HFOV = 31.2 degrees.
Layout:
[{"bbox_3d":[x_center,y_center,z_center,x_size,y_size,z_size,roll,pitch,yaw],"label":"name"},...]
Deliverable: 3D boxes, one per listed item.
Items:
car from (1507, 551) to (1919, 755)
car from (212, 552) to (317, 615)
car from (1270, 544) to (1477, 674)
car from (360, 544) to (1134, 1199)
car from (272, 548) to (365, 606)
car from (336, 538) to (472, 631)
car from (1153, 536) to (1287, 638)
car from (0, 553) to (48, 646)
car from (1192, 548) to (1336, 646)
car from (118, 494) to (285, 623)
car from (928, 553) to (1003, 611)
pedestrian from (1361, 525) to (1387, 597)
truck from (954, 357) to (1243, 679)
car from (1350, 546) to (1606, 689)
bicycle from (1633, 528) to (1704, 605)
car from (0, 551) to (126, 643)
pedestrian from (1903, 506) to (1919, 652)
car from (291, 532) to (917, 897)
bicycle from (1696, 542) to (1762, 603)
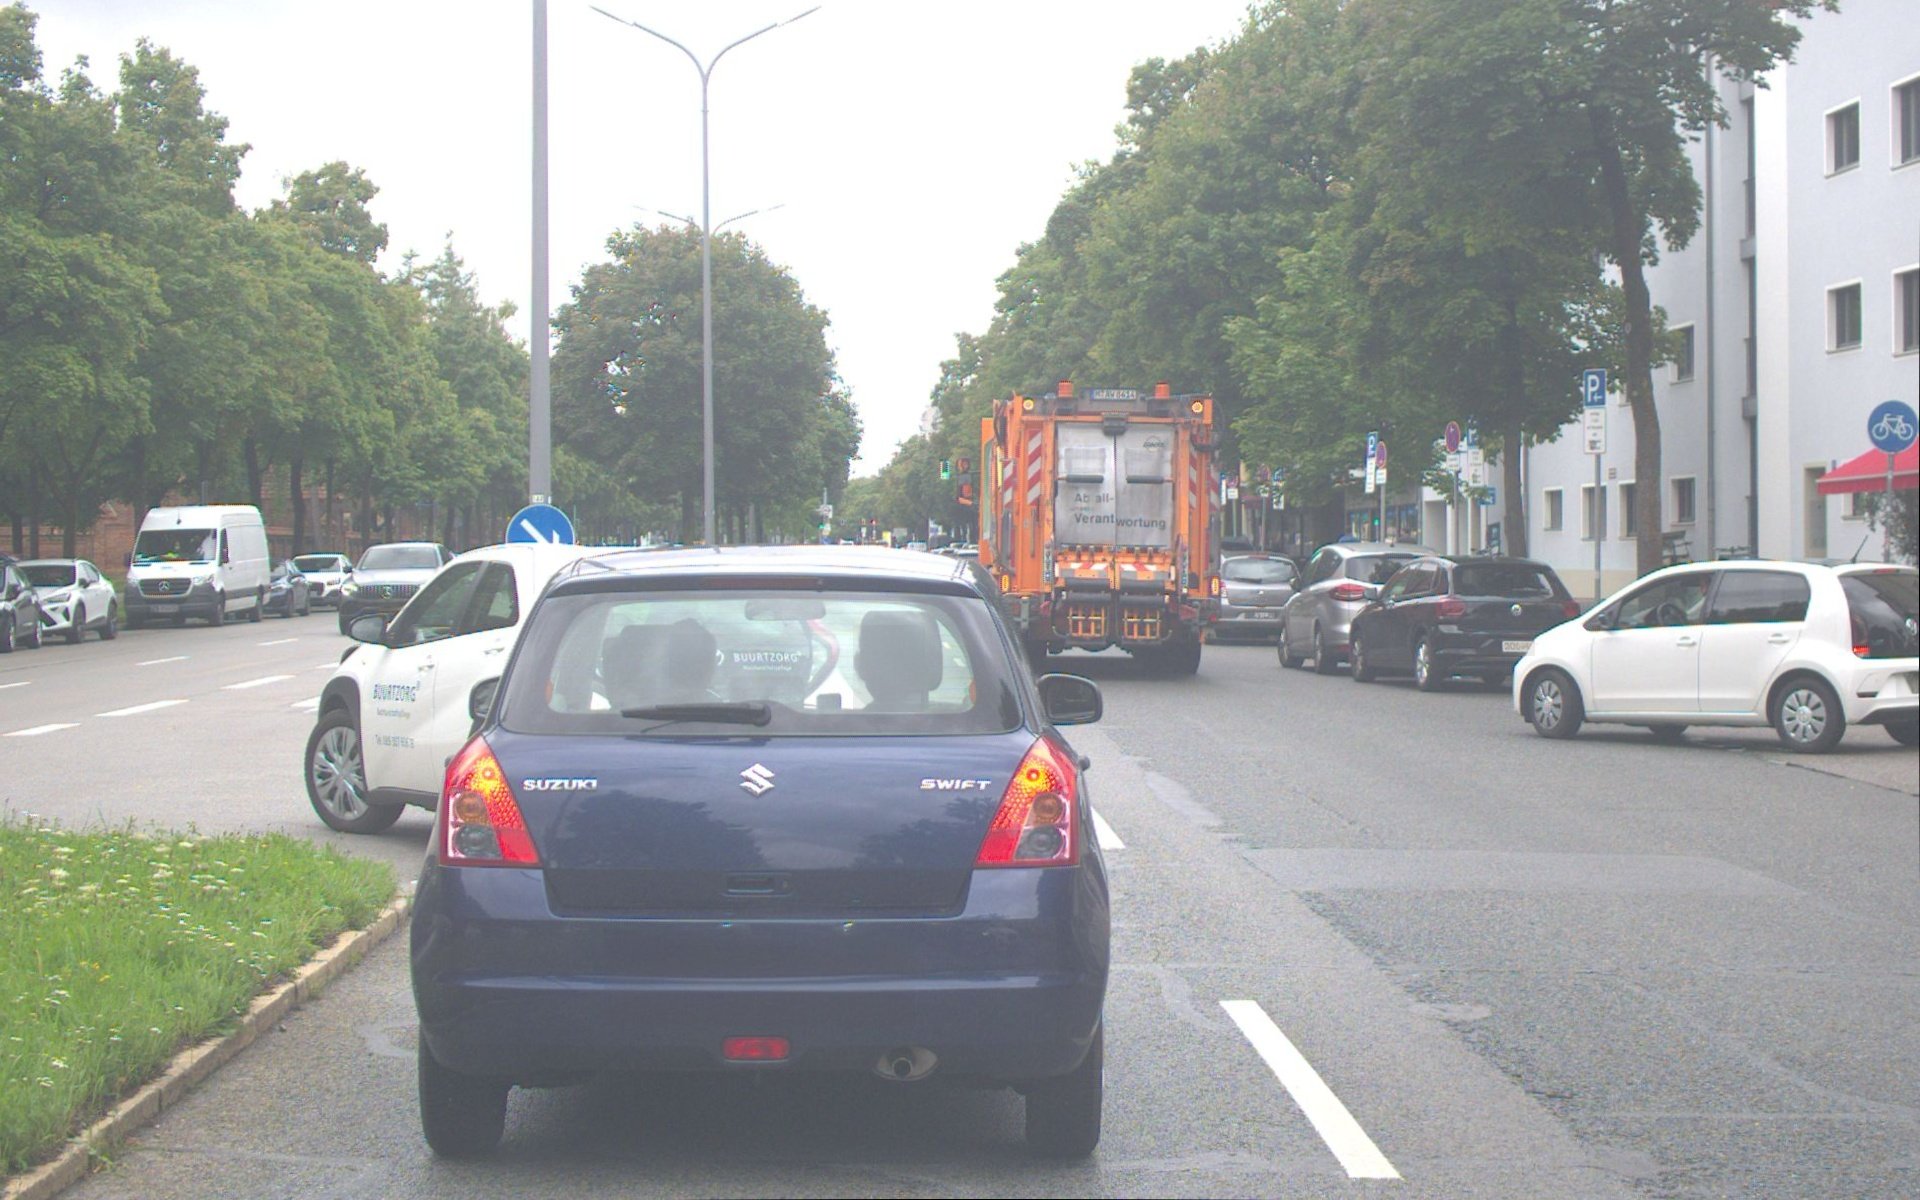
[{"bbox_3d":[6.209,0.367,27.112,1.687,1.485,3.433,-1,1,-43],"label":"car"},{"bbox_3d":[-16.824,-0.392,83.267,1.857,1.485,4.252,0,0,-3],"label":"car"},{"bbox_3d":[5.059,0.063,42.625,1.829,1.517,4.524,0,1,-3],"label":"car"},{"bbox_3d":[-0.503,0.595,9.799,1.753,1.499,4.000,0,1,-1],"label":"car"},{"bbox_3d":[-16.853,-0.587,90.468,1.857,1.485,4.142,0,0,-3],"label":"car"},{"bbox_3d":[-10.036,-0.314,62.306,1.821,1.584,4.502,0,2,-1],"label":"car"},{"bbox_3d":[4.563,-0.255,60.952,1.829,1.740,4.509,0,1,-3],"label":"car"},{"bbox_3d":[-16.120,-0.013,55.948,1.821,1.442,4.001,-2,1,-6],"label":"car"},{"bbox_3d":[4.857,-0.071,55.364,1.829,1.517,3.771,0,1,-3],"label":"car"},{"bbox_3d":[-16.492,-0.951,75.111,2.139,2.634,7.106,-2,1,-1],"label":"car"},{"bbox_3d":[0.133,-0.498,92.405,1.829,1.517,3.771,0,1,-3],"label":"car"},{"bbox_3d":[10.141,-0.956,84.225,0.499,1.727,0.733,-2,1,-1],"label":"pedestrian"},{"bbox_3d":[1.513,-1.025,44.688,3.041,3.545,13.675,0,1,-1],"label":"truck"},{"bbox_3d":[5.574,0.151,37.468,1.829,1.468,3.889,0,1,-6],"label":"car"},{"bbox_3d":[13.290,-0.638,64.554,0.702,1.402,2.593,-2,1,-1],"label":"bicycle"},{"bbox_3d":[-16.196,-0.042,61.115,1.821,1.522,4.299,-2,0,-3],"label":"car"},{"bbox_3d":[13.065,-0.276,45.439,0.868,1.922,0.761,0,1,-17],"label":"pedestrian"},{"bbox_3d":[-1.838,0.447,16.627,1.821,1.548,3.722,0,1,-26],"label":"car"},{"bbox_3d":[13.500,-0.494,60.403,0.621,1.043,2.195,0,1,-1],"label":"bicycle"}]
